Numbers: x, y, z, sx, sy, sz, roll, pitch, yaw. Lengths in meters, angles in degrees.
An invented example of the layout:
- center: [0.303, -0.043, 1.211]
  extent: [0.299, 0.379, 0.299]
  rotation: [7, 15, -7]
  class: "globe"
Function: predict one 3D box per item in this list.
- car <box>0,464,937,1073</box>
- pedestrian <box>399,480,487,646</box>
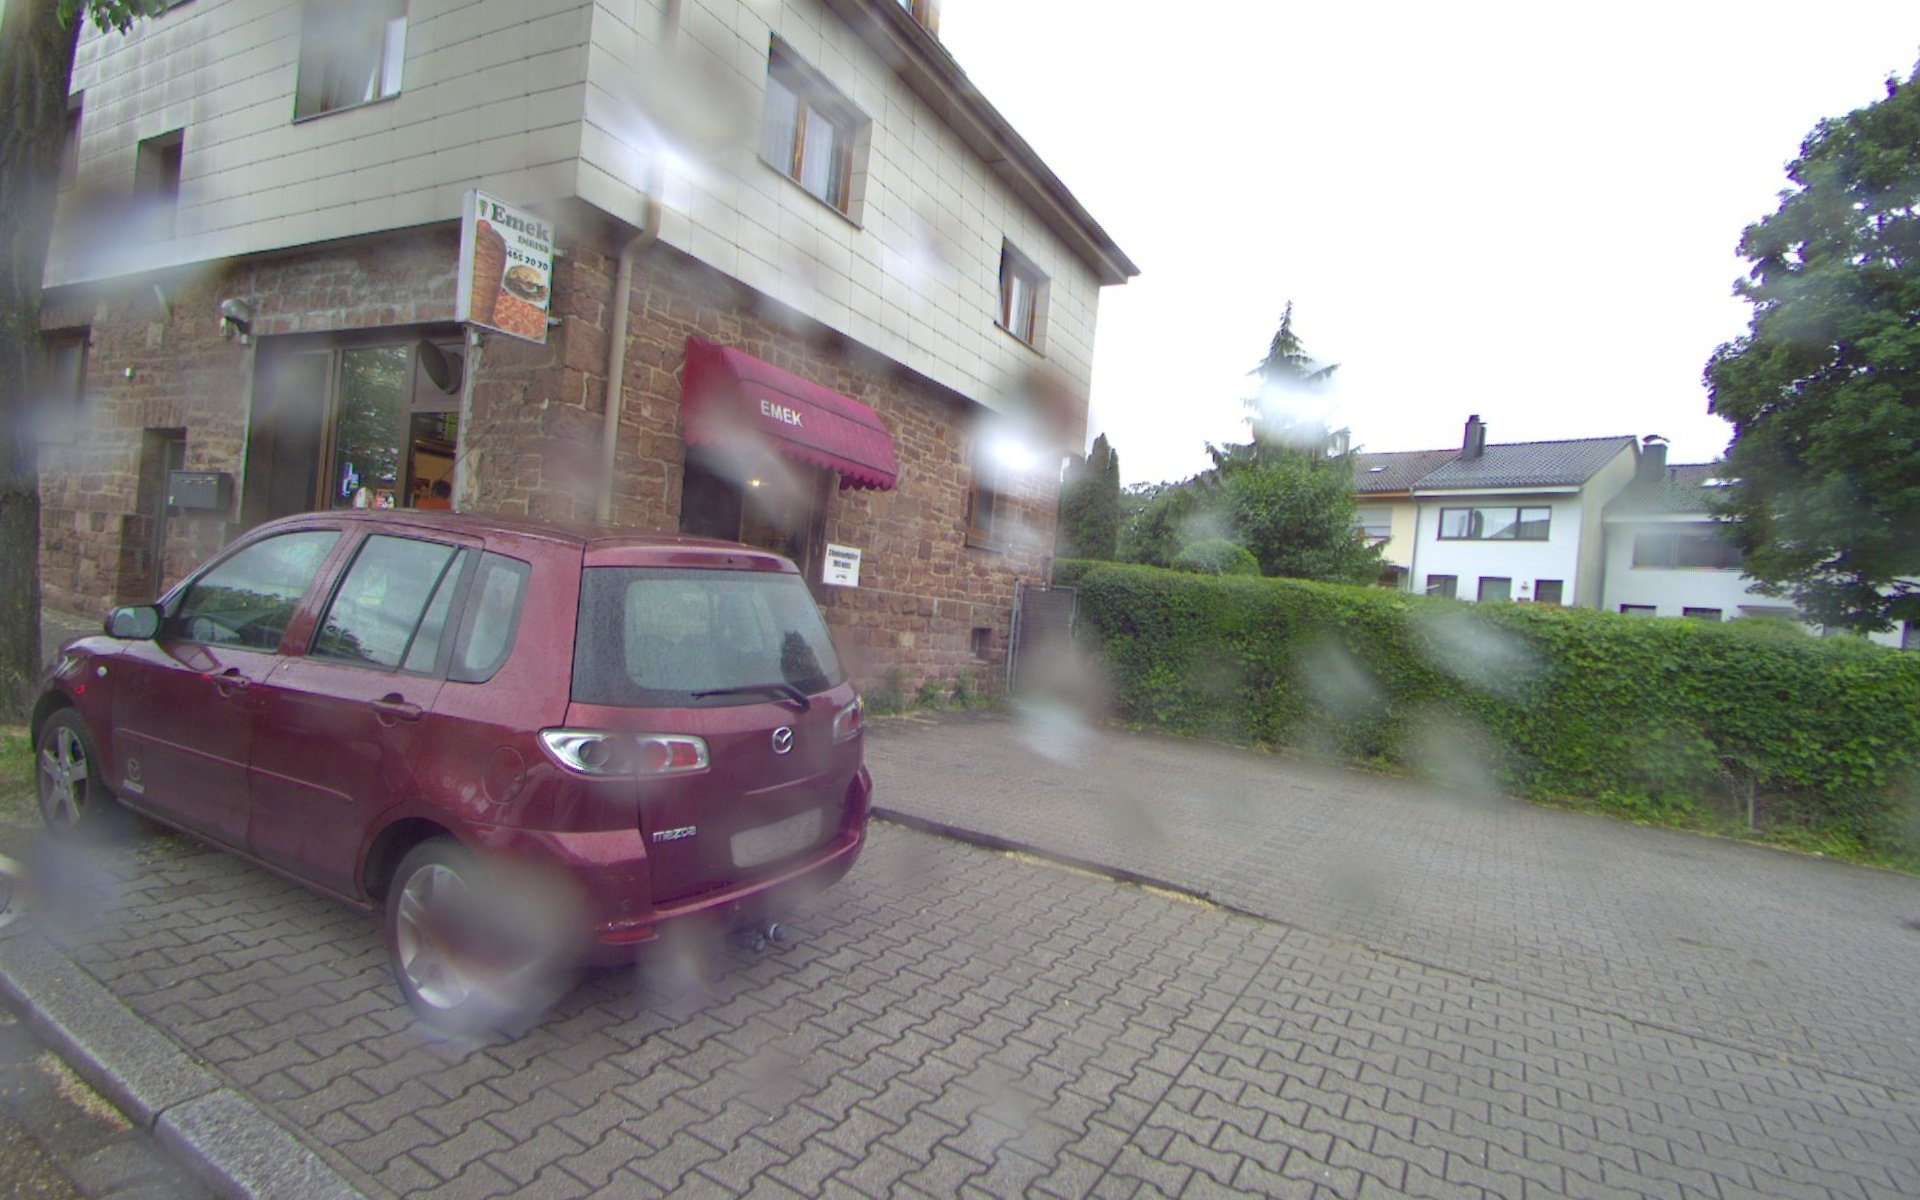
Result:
- center: [-2.155, 0.374, 4.129]
  extent: [3.692, 1.521, 1.614]
  rotation: [5, -3, 29]
  class: "car"
- center: [-5.499, -0.388, 10.715]
  extent: [0.447, 1.679, 0.493]
  rotation: [7, -1, 31]
  class: "pedestrian"
